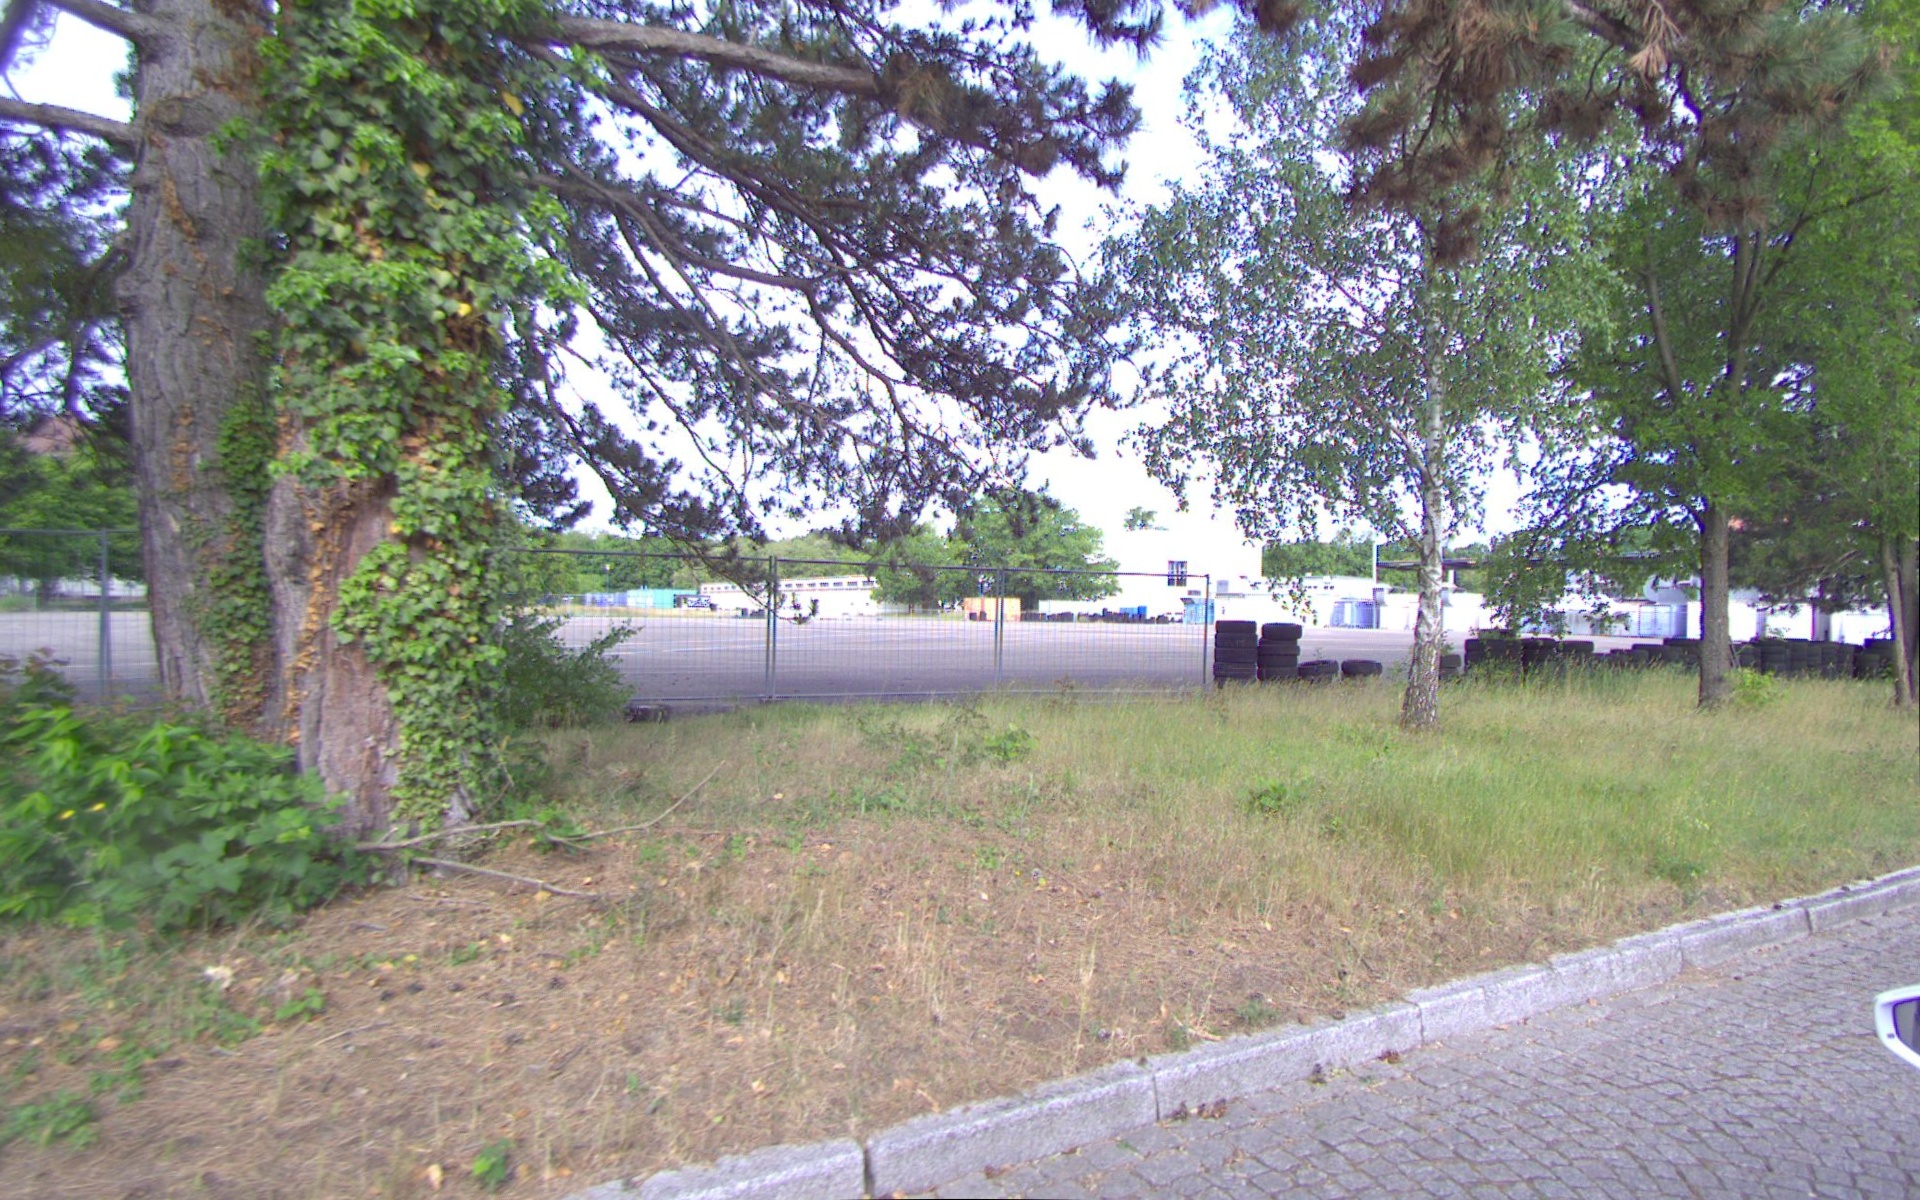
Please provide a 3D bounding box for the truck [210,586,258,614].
[{"bbox_3d":[-60.144,0.004,83.329,2.345,2.227,6.506,1,0,-28],"label":"truck"}]

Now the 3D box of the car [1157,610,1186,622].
[{"bbox_3d":[27.752,2.117,131.898,1.611,1.553,3.947,1,0,-30],"label":"car"}]
